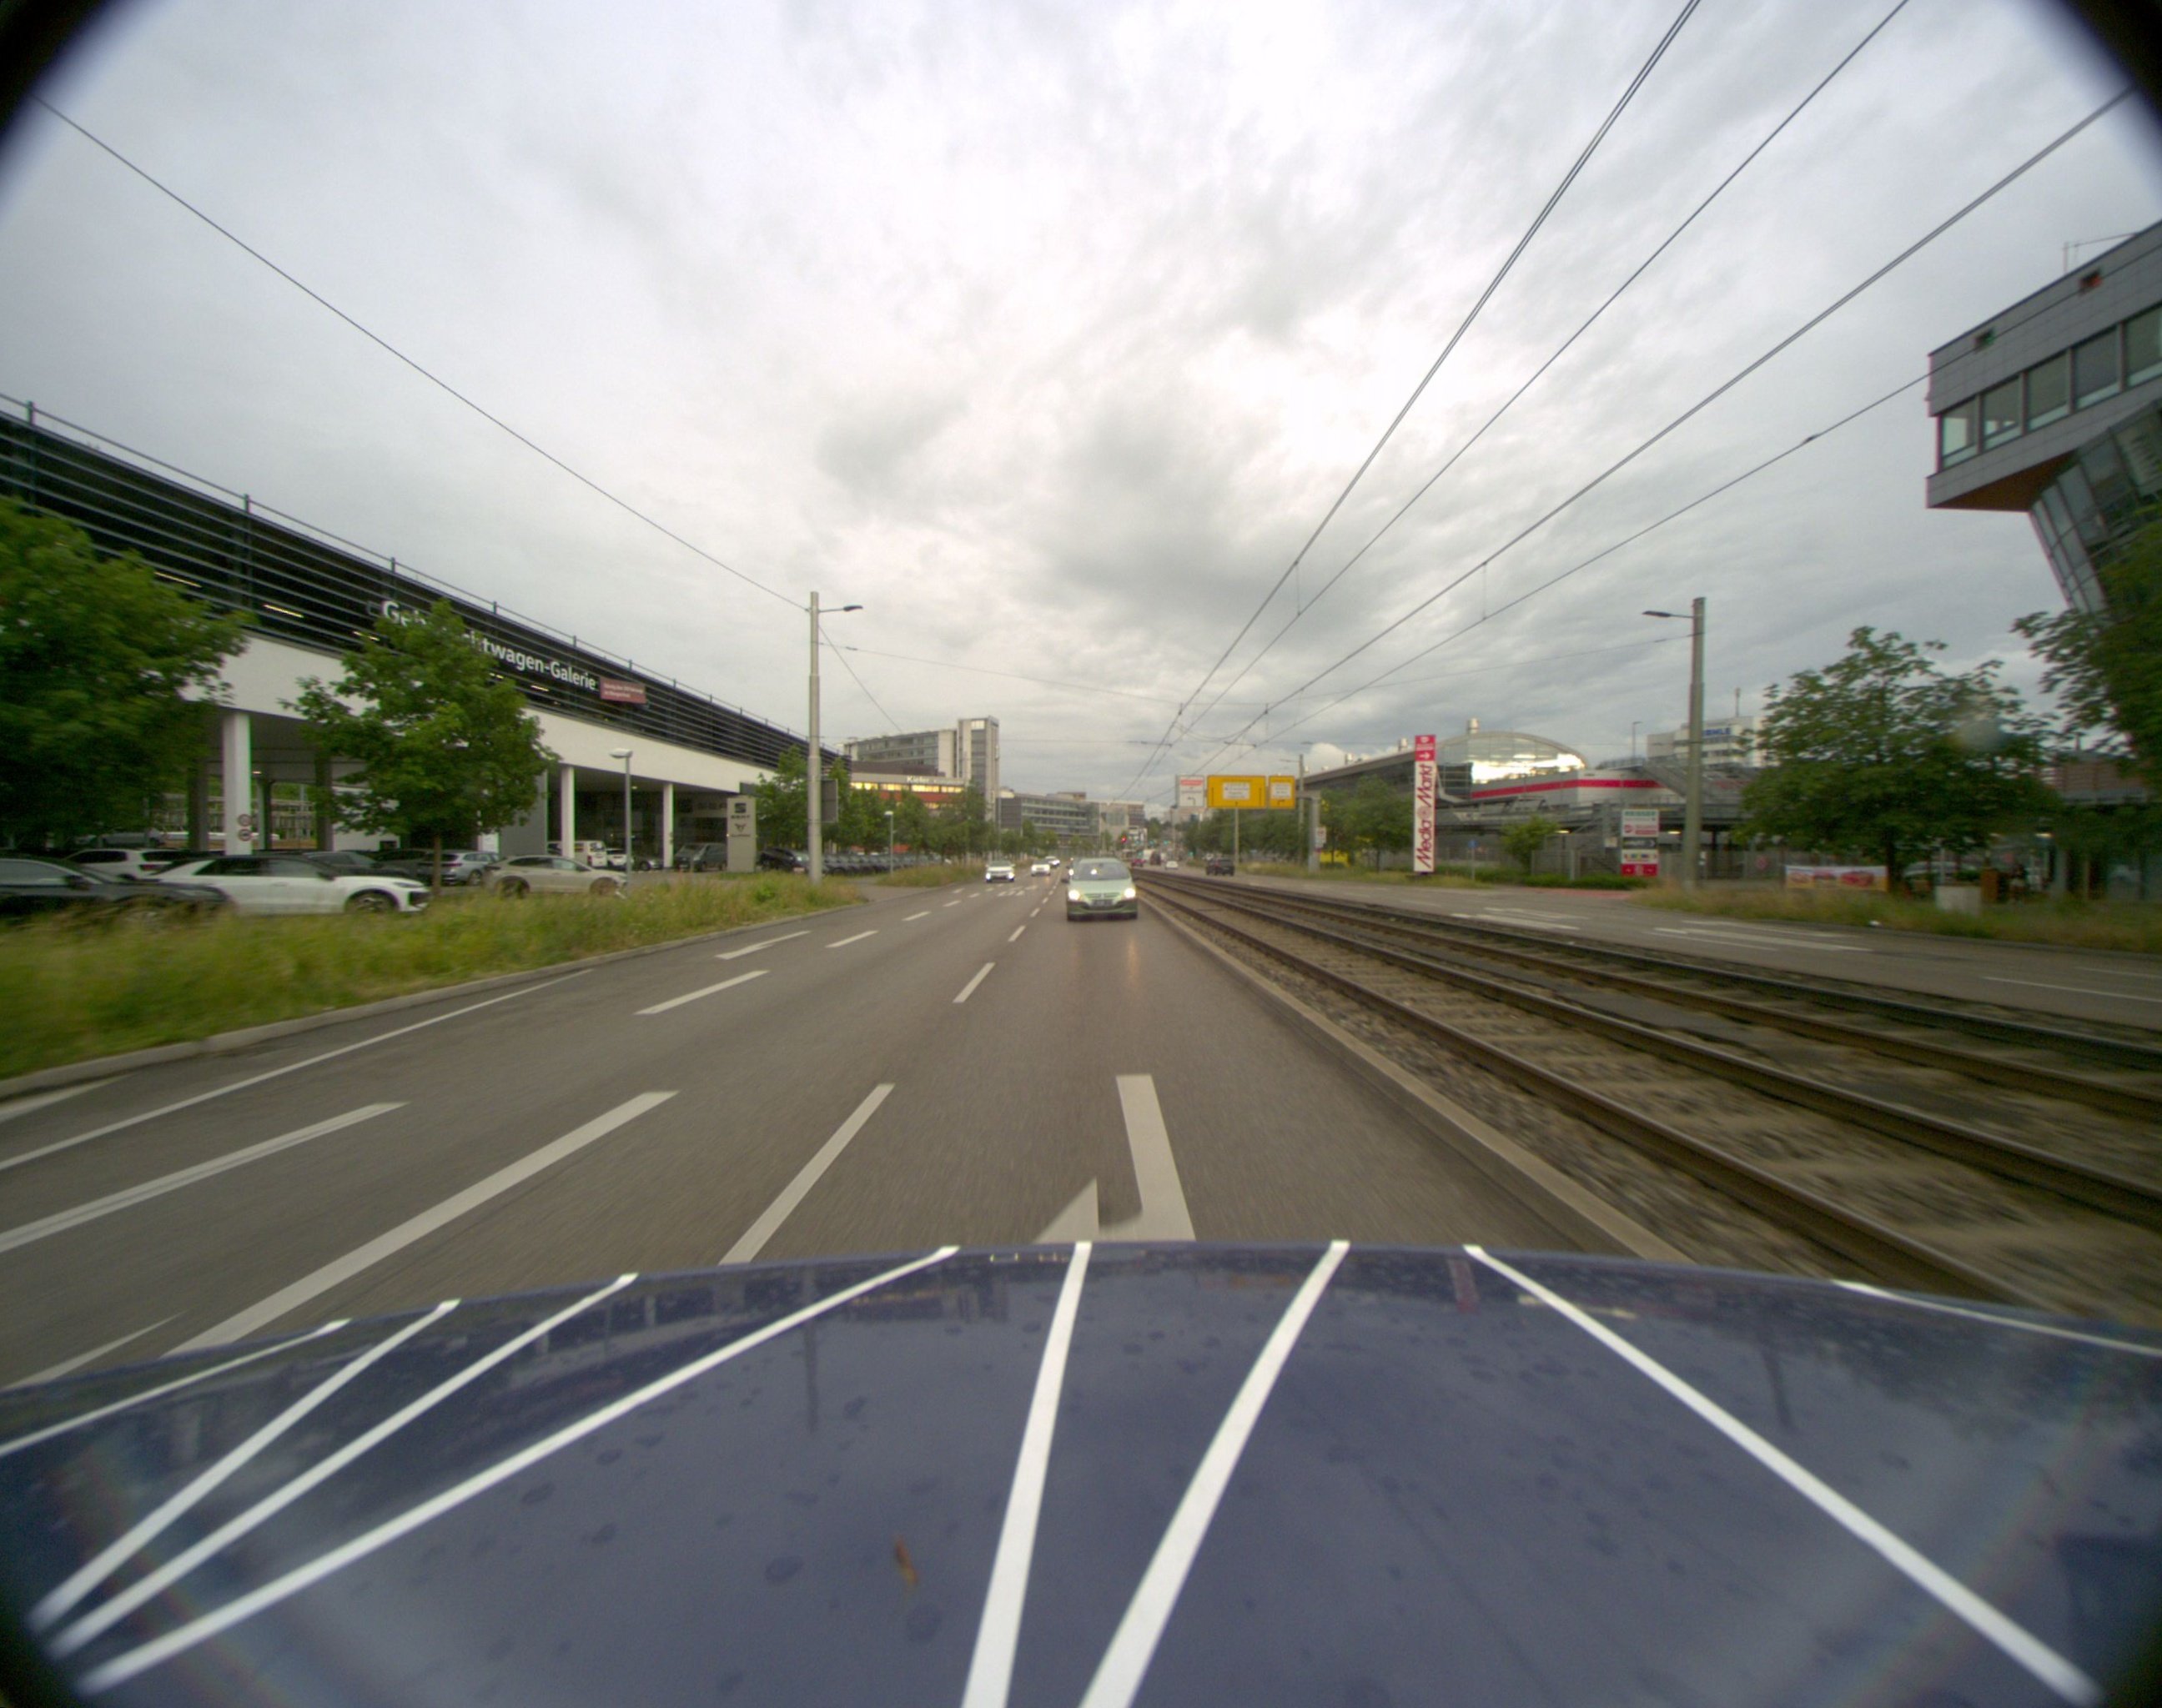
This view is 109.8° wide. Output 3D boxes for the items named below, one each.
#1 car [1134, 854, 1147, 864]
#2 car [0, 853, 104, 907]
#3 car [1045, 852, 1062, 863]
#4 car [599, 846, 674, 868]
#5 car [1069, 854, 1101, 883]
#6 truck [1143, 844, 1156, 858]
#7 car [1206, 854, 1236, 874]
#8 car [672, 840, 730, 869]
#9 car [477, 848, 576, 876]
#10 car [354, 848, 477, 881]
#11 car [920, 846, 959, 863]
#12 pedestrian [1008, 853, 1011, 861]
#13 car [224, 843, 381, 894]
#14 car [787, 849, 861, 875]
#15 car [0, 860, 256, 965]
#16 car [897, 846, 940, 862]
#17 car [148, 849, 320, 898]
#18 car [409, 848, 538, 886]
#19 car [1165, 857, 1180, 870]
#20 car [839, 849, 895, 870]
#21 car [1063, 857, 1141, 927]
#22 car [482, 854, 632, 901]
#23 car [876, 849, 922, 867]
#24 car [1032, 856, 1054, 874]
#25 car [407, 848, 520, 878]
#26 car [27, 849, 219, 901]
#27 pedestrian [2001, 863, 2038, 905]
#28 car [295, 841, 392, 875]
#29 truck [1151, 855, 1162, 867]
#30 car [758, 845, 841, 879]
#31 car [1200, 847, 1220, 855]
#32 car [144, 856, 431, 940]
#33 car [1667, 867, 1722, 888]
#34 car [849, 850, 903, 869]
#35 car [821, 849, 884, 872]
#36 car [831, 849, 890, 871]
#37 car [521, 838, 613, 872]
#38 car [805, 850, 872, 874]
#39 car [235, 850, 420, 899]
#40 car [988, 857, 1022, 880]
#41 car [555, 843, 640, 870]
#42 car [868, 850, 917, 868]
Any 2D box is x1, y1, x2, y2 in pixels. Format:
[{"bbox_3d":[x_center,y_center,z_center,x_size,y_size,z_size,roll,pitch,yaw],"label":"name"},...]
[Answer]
[{"bbox_3d":[9.696,0.807,124.287,1.807,1.420,4.235,1,0,-1],"label":"car"},{"bbox_3d":[-30.454,0.688,21.151,3.829,1.443,1.732,0,1,-9],"label":"car"},{"bbox_3d":[-4.028,0.496,111.642,1.889,1.584,3.983,-1,0,5],"label":"car"},{"bbox_3d":[-30.227,0.194,51.754,4.043,1.505,1.723,0,1,-3],"label":"car"},{"bbox_3d":[0.257,0.794,44.355,1.762,1.535,3.714,-3,1,1],"label":"car"},{"bbox_3d":[17.655,-0.871,196.051,2.733,3.339,7.150,2,3,2],"label":"truck"},{"bbox_3d":[12.583,0.927,68.581,1.998,1.725,4.213,2,-1,1],"label":"car"},{"bbox_3d":[-25.953,0.032,52.105,1.892,1.927,4.428,0,0,-2],"label":"car"},{"bbox_3d":[-30.462,0.422,41.837,3.997,1.528,1.904,0,1,-1],"label":"car"},{"bbox_3d":[-30.120,0.450,34.477,3.997,1.416,1.764,0,1,-1],"label":"car"},{"bbox_3d":[-17.836,0.022,95.844,4.504,1.980,1.818,1,0,-19],"label":"car"},{"bbox_3d":[-16.961,0.655,180.198,0.683,1.890,0.677,-3,1,-22],"label":"pedestrian"},{"bbox_3d":[-29.570,0.534,28.938,3.996,1.718,1.891,-3,1,2],"label":"car"},{"bbox_3d":[-16.917,0.552,50.012,4.342,1.603,1.865,1,0,-30],"label":"car"},{"bbox_3d":[-16.975,0.911,12.652,4.199,1.560,1.794,1,2,-41],"label":"car"},{"bbox_3d":[-17.596,0.024,82.397,4.502,1.653,1.819,1,0,-12],"label":"car"},{"bbox_3d":[-29.505,0.661,26.555,3.996,1.499,1.786,-3,1,2],"label":"car"},{"bbox_3d":[-26.170,0.516,33.000,1.899,1.459,4.694,2,1,-1],"label":"car"},{"bbox_3d":[12.309,1.228,102.093,1.602,1.529,2.949,2,4,0],"label":"car"},{"bbox_3d":[-17.288,0.446,61.314,4.157,1.560,1.905,1,0,-21],"label":"car"},{"bbox_3d":[0.468,0.899,19.705,1.762,1.489,4.136,-3,1,-1],"label":"car"},{"bbox_3d":[-17.826,0.774,26.048,4.107,1.457,1.743,1,2,-33],"label":"car"},{"bbox_3d":[-17.223,0.388,71.971,4.061,1.567,1.729,1,0,-20],"label":"car"},{"bbox_3d":[-3.486,0.970,69.552,1.818,1.584,3.836,0,0,0],"label":"car"},{"bbox_3d":[-30.051,0.442,37.055,3.997,1.416,1.764,0,1,-1],"label":"car"},{"bbox_3d":[-29.894,0.635,23.791,3.826,1.578,1.638,0,1,-1],"label":"car"},{"bbox_3d":[37.479,1.202,30.351,0.810,1.669,0.580,1,1,-11],"label":"pedestrian"},{"bbox_3d":[-45.747,0.216,47.247,1.999,2.002,4.096,0,2,-1],"label":"car"},{"bbox_3d":[15.935,1.459,160.750,2.243,2.550,7.016,0,0,4],"label":"truck"},{"bbox_3d":[-17.069,0.461,46.028,4.709,1.865,1.828,2,0,23],"label":"car"},{"bbox_3d":[35.094,-0.776,207.161,5.068,2.318,1.997,0,0,-17],"label":"car"},{"bbox_3d":[-17.018,0.878,16.657,4.108,1.560,1.794,1,2,-37],"label":"car"},{"bbox_3d":[44.246,1.669,54.796,4.114,1.275,1.660,-3,1,-29],"label":"car"},{"bbox_3d":[-17.246,0.469,63.907,4.157,1.519,1.828,1,0,-20],"label":"car"},{"bbox_3d":[-16.779,0.504,55.724,4.158,1.595,1.822,1,0,-25],"label":"car"},{"bbox_3d":[-16.996,0.466,58.539,4.158,1.560,1.822,1,0,-25],"label":"car"},{"bbox_3d":[-30.051,0.056,44.540,4.037,1.964,1.944,0,1,-1],"label":"car"},{"bbox_3d":[-16.844,0.529,52.837,4.159,1.553,1.865,1,0,-27],"label":"car"},{"bbox_3d":[-25.805,0.631,26.300,1.784,1.459,4.693,2,1,-1],"label":"car"},{"bbox_3d":[-5.178,0.964,52.250,1.878,1.485,3.836,-1,0,0],"label":"car"},{"bbox_3d":[-29.881,0.161,47.035,3.997,1.623,1.904,0,1,-1],"label":"car"},{"bbox_3d":[-17.274,0.432,69.486,4.157,1.525,1.790,1,0,-20],"label":"car"}]
